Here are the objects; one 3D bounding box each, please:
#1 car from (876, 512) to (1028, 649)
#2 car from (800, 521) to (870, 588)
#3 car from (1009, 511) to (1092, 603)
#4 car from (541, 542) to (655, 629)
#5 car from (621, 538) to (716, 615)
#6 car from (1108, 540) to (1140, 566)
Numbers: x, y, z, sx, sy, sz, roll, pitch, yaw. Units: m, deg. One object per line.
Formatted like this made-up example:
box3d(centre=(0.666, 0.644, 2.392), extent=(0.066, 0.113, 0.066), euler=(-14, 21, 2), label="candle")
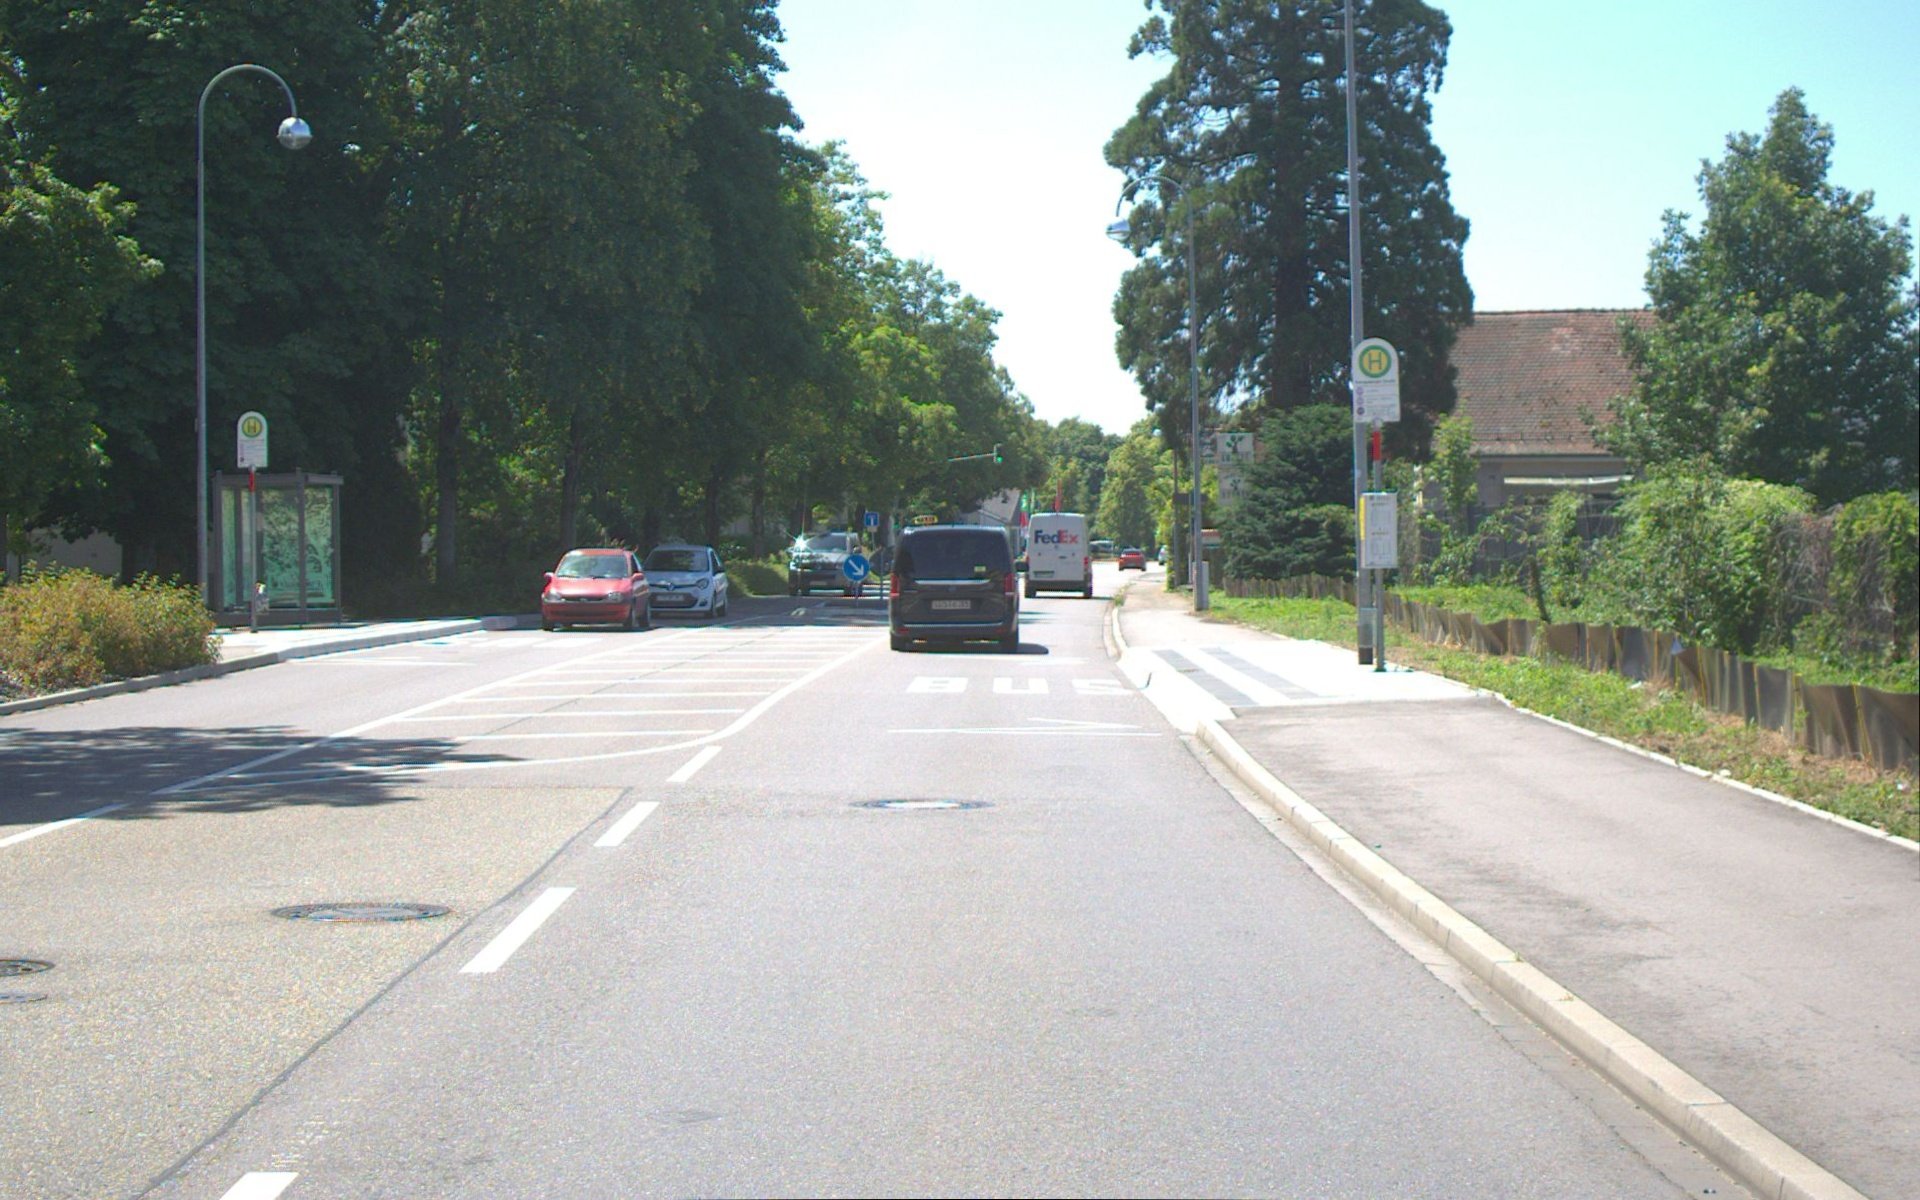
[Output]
box3d(centre=(-0.163, -0.327, 51.070), extent=(1.993, 1.886, 4.001), euler=(1, 2, -3), label="car")
box3d(centre=(-3.763, -1.382, 102.746), extent=(1.993, 1.903, 4.992), euler=(1, 2, -3), label="car")
box3d(centre=(2.764, -1.359, 106.027), extent=(2.120, 2.668, 5.663), euler=(1, 2, -3), label="car")
box3d(centre=(-6.317, -0.277, 60.287), extent=(1.550, 1.445, 3.691), euler=(1, 1, 1), label="car")
box3d(centre=(-5.969, -0.507, 70.178), extent=(1.690, 1.455, 3.641), euler=(1, 2, -8), label="car")
box3d(centre=(10.833, -3.112, 226.759), extent=(1.857, 1.637, 4.001), euler=(1, 2, -1), label="car")
